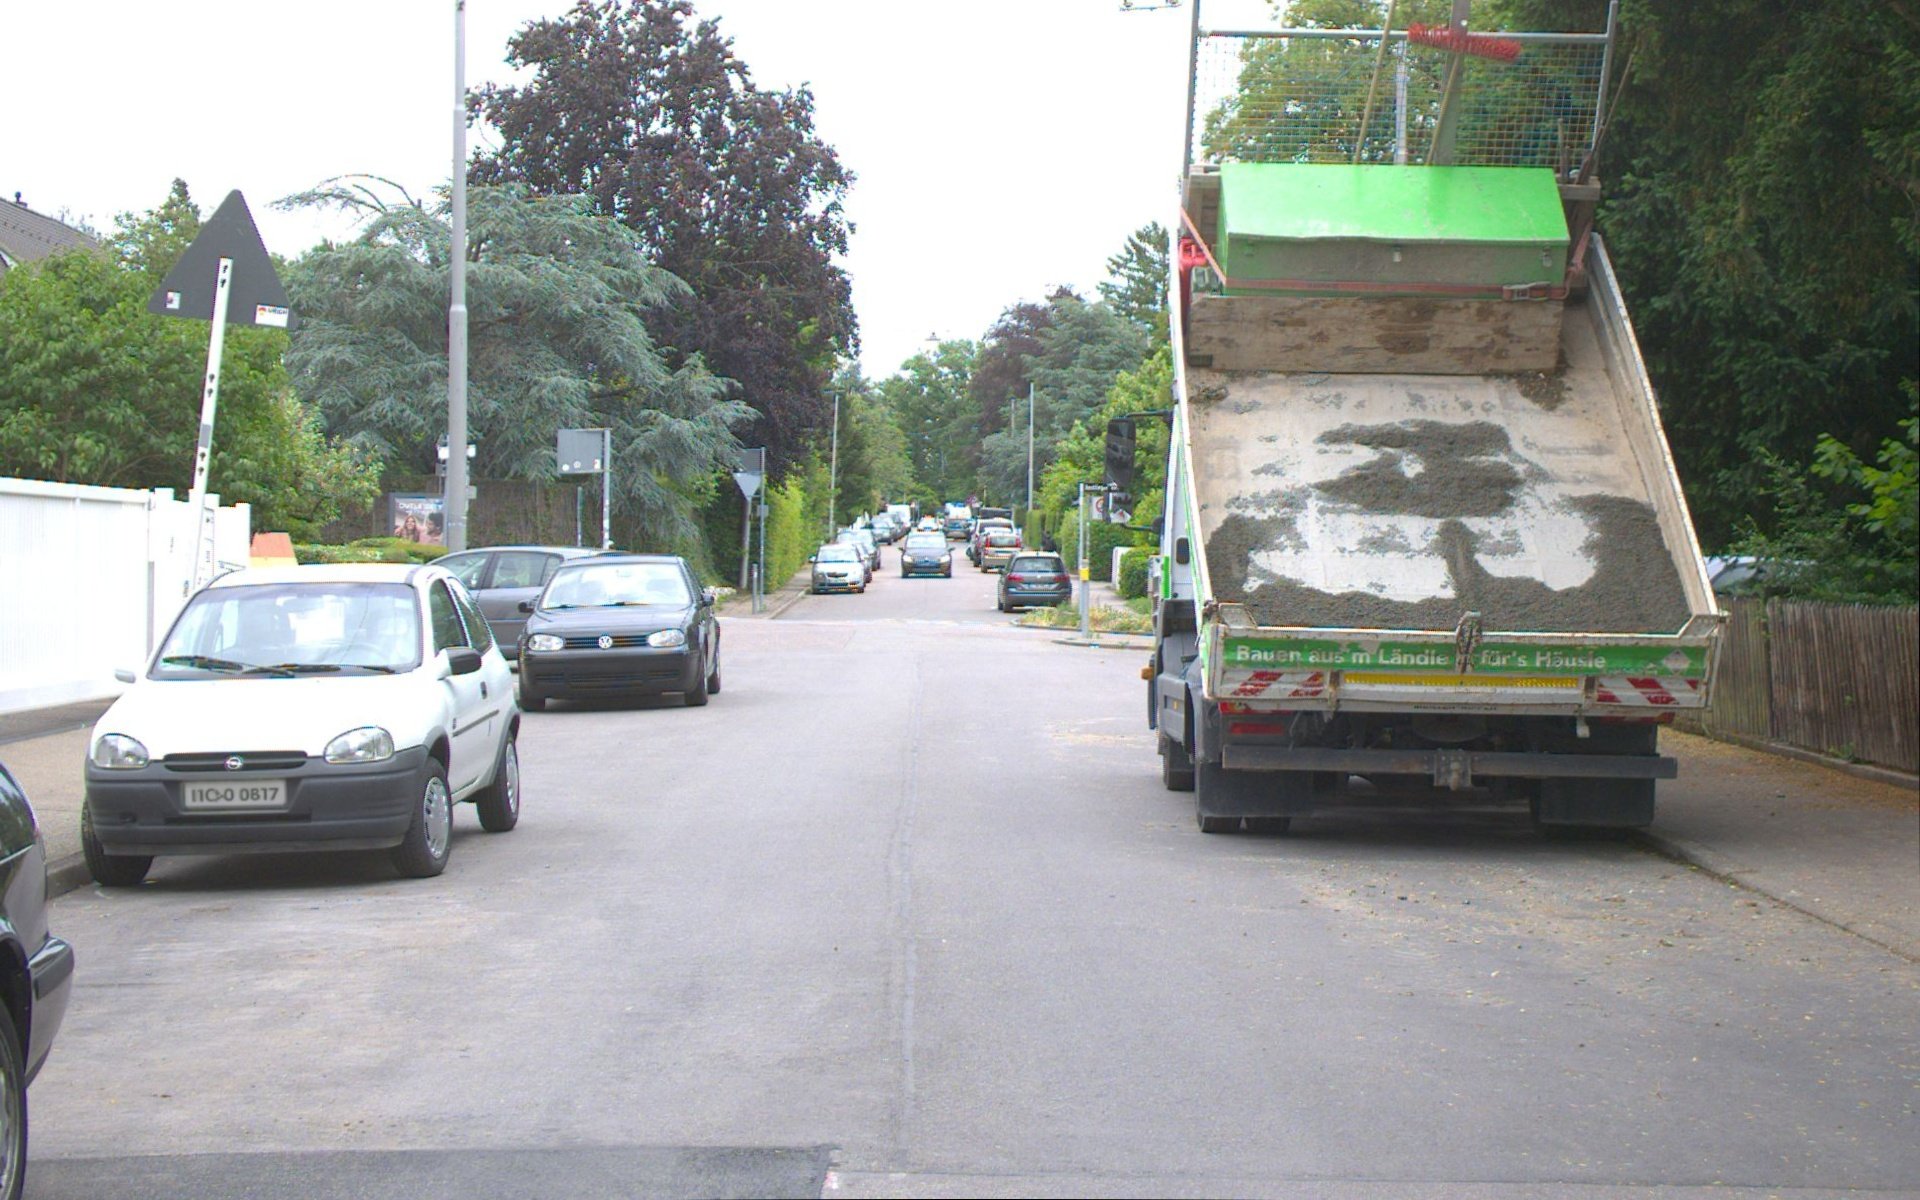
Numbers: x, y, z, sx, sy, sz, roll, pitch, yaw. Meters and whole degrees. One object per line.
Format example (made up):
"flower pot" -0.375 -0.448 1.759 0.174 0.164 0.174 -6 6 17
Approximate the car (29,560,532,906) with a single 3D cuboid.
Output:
"car" -3.171 0.549 16.783 1.596 1.428 4.000 -2 1 0

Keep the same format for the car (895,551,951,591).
"car" -1.330 -1.059 124.511 1.728 1.402 3.803 0 1 4

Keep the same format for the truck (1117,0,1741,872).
"truck" 2.360 -1.174 19.642 2.524 4.732 7.187 1 1 0

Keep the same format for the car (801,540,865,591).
"car" -4.013 -1.110 109.272 1.711 1.580 4.000 1 1 2

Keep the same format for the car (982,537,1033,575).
"car" 1.815 -1.703 132.877 1.810 1.331 3.633 2 2 -1

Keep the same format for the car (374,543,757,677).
"car" -4.529 0.091 39.650 3.990 1.439 1.825 1 1 16

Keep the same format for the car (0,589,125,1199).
"car" -2.866 0.746 5.797 1.641 1.417 4.549 -2 1 2

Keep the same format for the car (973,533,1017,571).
"car" 1.454 -1.990 141.705 1.789 1.524 3.734 1 1 1

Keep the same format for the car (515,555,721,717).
"car" -3.204 0.297 32.816 1.637 1.390 3.989 -2 1 -2

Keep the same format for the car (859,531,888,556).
"car" -4.967 -3.235 197.651 1.626 1.381 3.599 2 1 -1

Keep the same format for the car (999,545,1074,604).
"car" 1.964 -0.671 89.273 1.778 1.484 4.000 0 1 -1

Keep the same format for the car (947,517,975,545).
"car" 0.051 -4.230 209.678 1.634 1.695 3.494 1 1 -1
